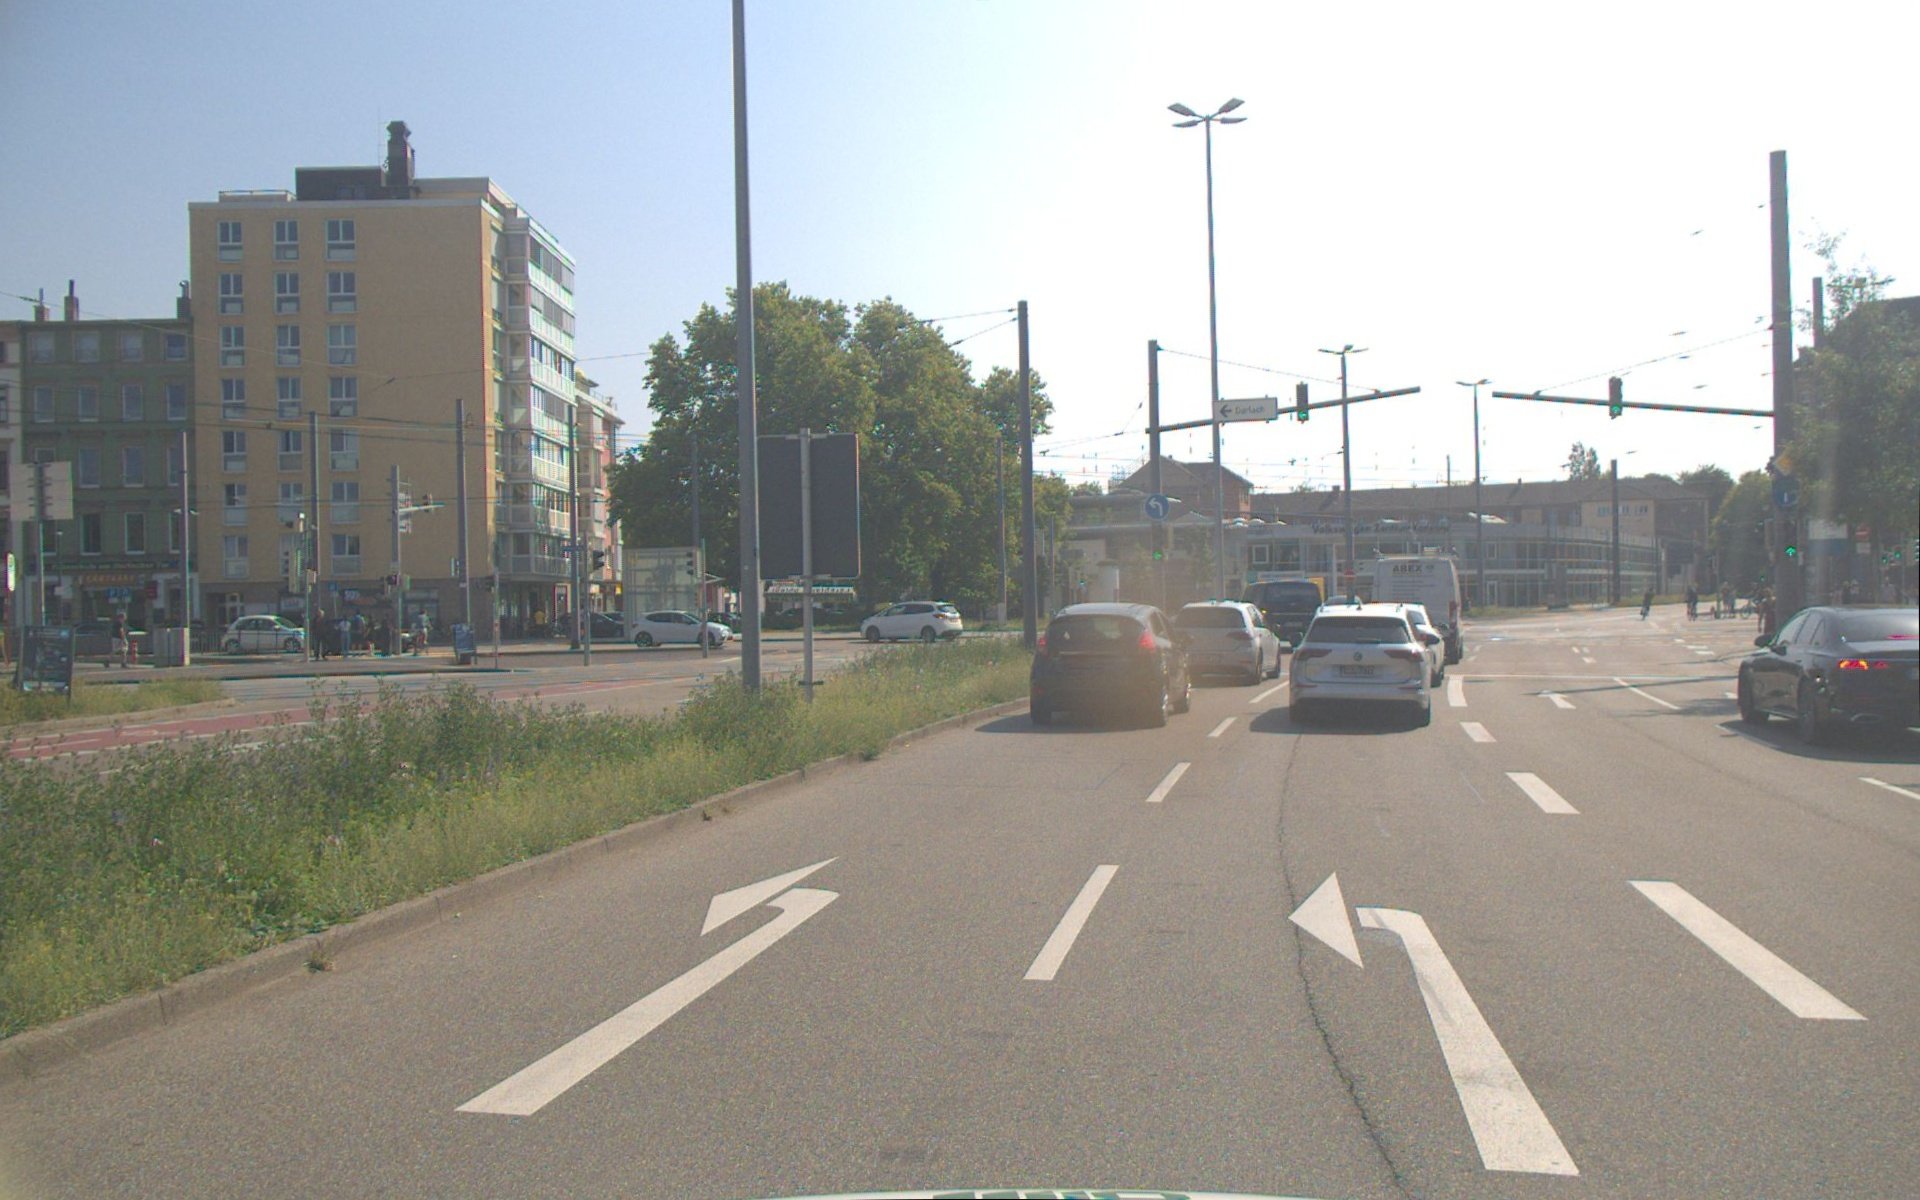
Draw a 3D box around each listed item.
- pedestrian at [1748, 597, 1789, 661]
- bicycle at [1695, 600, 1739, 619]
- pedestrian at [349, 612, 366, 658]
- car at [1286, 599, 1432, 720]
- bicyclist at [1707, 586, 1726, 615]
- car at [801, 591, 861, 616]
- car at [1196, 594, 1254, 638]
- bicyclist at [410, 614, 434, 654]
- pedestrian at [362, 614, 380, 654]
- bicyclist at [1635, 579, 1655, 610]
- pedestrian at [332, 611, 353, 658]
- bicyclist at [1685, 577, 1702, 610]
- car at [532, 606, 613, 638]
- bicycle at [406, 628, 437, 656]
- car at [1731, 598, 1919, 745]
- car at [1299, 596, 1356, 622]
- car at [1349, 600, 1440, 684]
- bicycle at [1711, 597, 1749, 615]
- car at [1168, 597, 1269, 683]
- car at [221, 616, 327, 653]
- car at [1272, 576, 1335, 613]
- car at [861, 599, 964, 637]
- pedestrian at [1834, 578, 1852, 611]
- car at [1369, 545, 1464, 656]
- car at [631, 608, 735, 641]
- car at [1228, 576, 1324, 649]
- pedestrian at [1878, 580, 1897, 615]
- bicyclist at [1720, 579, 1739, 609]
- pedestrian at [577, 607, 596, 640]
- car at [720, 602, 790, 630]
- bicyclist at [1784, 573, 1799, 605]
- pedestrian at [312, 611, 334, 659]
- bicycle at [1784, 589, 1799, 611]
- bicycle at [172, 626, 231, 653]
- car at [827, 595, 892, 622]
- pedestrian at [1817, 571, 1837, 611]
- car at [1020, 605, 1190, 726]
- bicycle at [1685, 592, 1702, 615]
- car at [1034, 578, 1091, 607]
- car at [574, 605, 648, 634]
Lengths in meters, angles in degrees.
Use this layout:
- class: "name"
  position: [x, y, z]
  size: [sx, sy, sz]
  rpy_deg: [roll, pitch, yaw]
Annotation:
- class: "pedestrian"
  position: [17.989, 0.642, 36.801]
  size: [0.622, 1.386, 0.634]
  rpy_deg: [-1, 0, 9]
- class: "bicycle"
  position: [39.298, 0.494, 85.901]
  size: [2.013, 0.910, 0.745]
  rpy_deg: [-1, 0, 30]
- class: "pedestrian"
  position: [-22.801, 1.310, 62.599]
  size: [0.451, 1.714, 0.434]
  rpy_deg: [-3, 3, -39]
- class: "car"
  position: [5.094, 0.717, 21.240]
  size: [1.649, 1.412, 3.637]
  rpy_deg: [-1, -1, 13]
- class: "bicyclist"
  position: [39.287, 0.027, 85.906]
  size: [0.789, 1.486, 0.747]
  rpy_deg: [-1, 0, 29]
- class: "car"
  position: [-8.705, 0.267, 111.762]
  size: [3.906, 1.585, 1.727]
  rpy_deg: [-1, 0, -1]
- class: "car"
  position: [9.763, 0.566, 61.105]
  size: [1.532, 1.397, 3.999]
  rpy_deg: [-1, 2, 1]
- class: "bicyclist"
  position: [-20.337, 1.276, 62.545]
  size: [0.711, 1.459, 0.689]
  rpy_deg: [-1, 0, -4]
- class: "pedestrian"
  position: [-22.420, 1.292, 62.962]
  size: [0.494, 1.513, 0.434]
  rpy_deg: [-3, 3, -39]
- class: "bicyclist"
  position: [35.350, -0.272, 85.359]
  size: [0.759, 1.606, 0.987]
  rpy_deg: [-1, -1, 36]
- class: "pedestrian"
  position: [-22.975, 1.279, 61.511]
  size: [0.445, 1.714, 0.548]
  rpy_deg: [-1, 2, 12]
- class: "bicyclist"
  position: [35.121, -0.334, 79.198]
  size: [0.699, 1.556, 0.806]
  rpy_deg: [-1, 0, 26]
- class: "car"
  position: [-21.069, 1.196, 89.953]
  size: [3.905, 1.584, 1.869]
  rpy_deg: [-1, 2, 0]
- class: "bicycle"
  position: [-20.326, 1.581, 62.467]
  size: [0.713, 1.001, 1.730]
  rpy_deg: [-1, 0, -4]
- class: "car"
  position: [10.275, 0.712, 18.810]
  size: [1.781, 1.465, 4.878]
  rpy_deg: [0, 0, 14]
- class: "car"
  position: [20.226, 0.478, 90.943]
  size: [1.860, 1.348, 4.123]
  rpy_deg: [-1, 0, 31]
- class: "car"
  position: [7.843, 0.738, 30.086]
  size: [1.457, 1.427, 3.945]
  rpy_deg: [-1, -1, 13]
- class: "bicycle"
  position: [40.215, 0.335, 86.376]
  size: [1.764, 0.900, 0.760]
  rpy_deg: [-1, 0, 30]
- class: "car"
  position: [4.826, 0.699, 30.584]
  size: [1.457, 1.440, 3.651]
  rpy_deg: [-1, 0, 15]
- class: "car"
  position: [-28.266, 1.407, 68.207]
  size: [3.660, 1.417, 1.587]
  rpy_deg: [-1, 0, 0]
- class: "car"
  position: [19.702, -0.319, 94.643]
  size: [1.958, 2.049, 4.651]
  rpy_deg: [-1, 0, 33]
- class: "car"
  position: [-1.970, 0.740, 67.905]
  size: [4.000, 1.528, 1.625]
  rpy_deg: [-1, -1, 30]
- class: "pedestrian"
  position: [38.077, -0.233, 71.329]
  size: [0.645, 1.384, 0.658]
  rpy_deg: [0, 2, 30]
- class: "car"
  position: [11.362, 0.037, 41.254]
  size: [2.142, 2.594, 4.687]
  rpy_deg: [-1, -1, 15]
- class: "car"
  position: [-10.936, 0.958, 65.383]
  size: [3.748, 1.200, 1.577]
  rpy_deg: [-1, 0, 5]
- class: "car"
  position: [9.304, 0.360, 49.005]
  size: [1.982, 2.043, 4.684]
  rpy_deg: [-1, 0, 1]
- class: "pedestrian"
  position: [37.600, -0.115, 67.062]
  size: [0.645, 1.384, 0.658]
  rpy_deg: [0, 2, 30]
- class: "bicyclist"
  position: [40.196, -0.323, 86.390]
  size: [0.789, 1.524, 0.747]
  rpy_deg: [-1, 0, 29]
- class: "pedestrian"
  position: [-19.093, 1.196, 84.627]
  size: [0.833, 1.649, 0.541]
  rpy_deg: [-1, 0, -4]
- class: "car"
  position: [-12.156, 0.961, 98.344]
  size: [3.906, 1.585, 1.727]
  rpy_deg: [-1, 0, -1]
- class: "bicyclist"
  position: [48.392, -0.624, 96.251]
  size: [0.732, 1.861, 0.806]
  rpy_deg: [-1, 0, 26]
- class: "pedestrian"
  position: [-23.511, 1.292, 61.067]
  size: [0.445, 1.714, 0.547]
  rpy_deg: [0, 2, 24]
- class: "bicycle"
  position: [48.401, -0.011, 96.249]
  size: [0.725, 1.239, 2.244]
  rpy_deg: [-1, 0, 26]
- class: "bicycle"
  position: [-35.339, 1.838, 77.064]
  size: [2.420, 1.135, 0.732]
  rpy_deg: [-2, 3, -29]
- class: "car"
  position: [-6.229, 0.533, 102.931]
  size: [3.906, 1.585, 1.727]
  rpy_deg: [-1, 0, -1]
- class: "pedestrian"
  position: [42.337, -0.443, 80.750]
  size: [0.788, 1.922, 0.748]
  rpy_deg: [-1, 0, 26]
- class: "car"
  position: [1.952, 0.783, 21.234]
  size: [1.665, 1.392, 3.967]
  rpy_deg: [-1, -1, 12]
- class: "bicycle"
  position: [35.099, 0.169, 79.130]
  size: [0.692, 1.080, 1.980]
  rpy_deg: [-1, 0, 26]
- class: "car"
  position: [7.522, -0.546, 120.960]
  size: [3.901, 2.048, 2.002]
  rpy_deg: [-1, 2, 11]
- class: "car"
  position: [-20.477, 1.140, 97.124]
  size: [3.906, 1.585, 1.868]
  rpy_deg: [-1, 0, -1]
